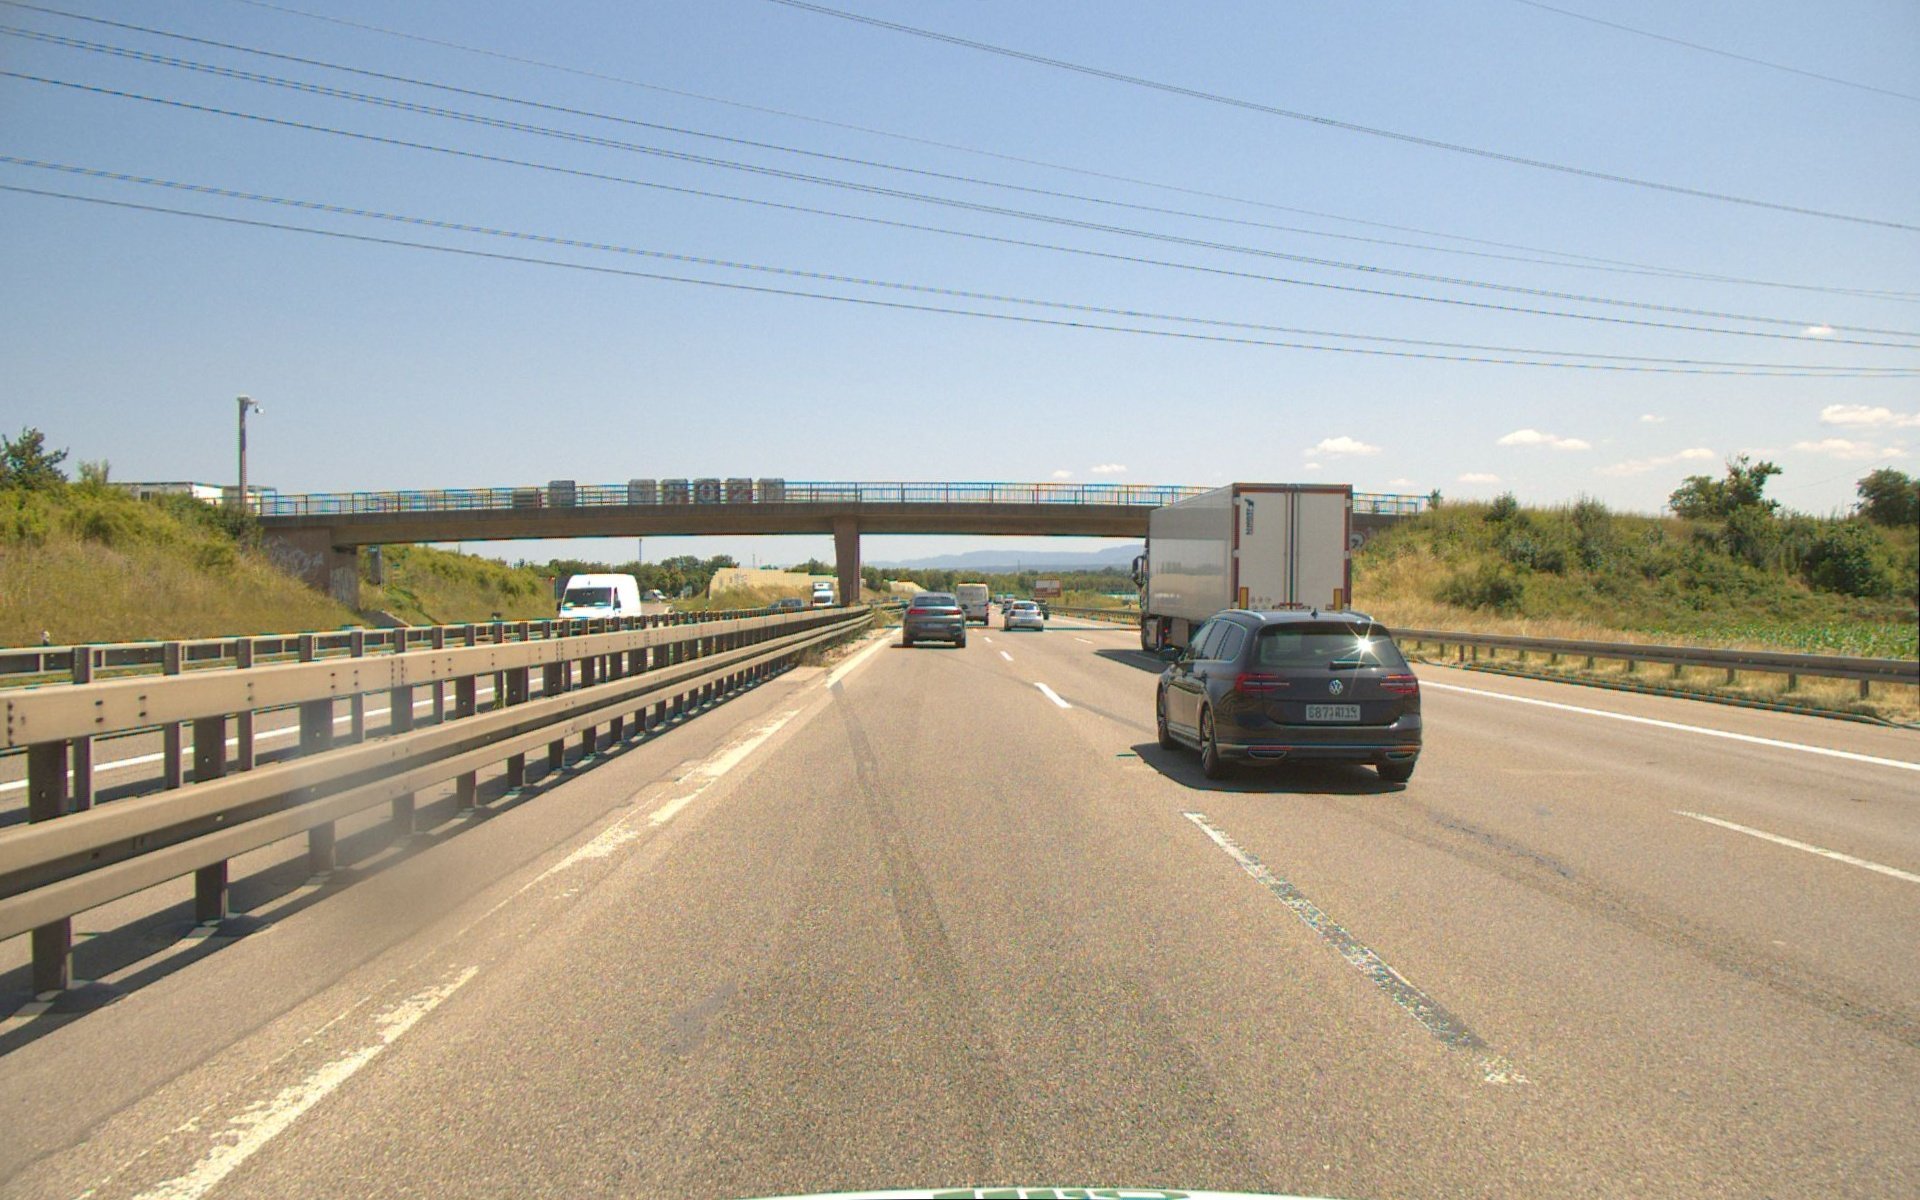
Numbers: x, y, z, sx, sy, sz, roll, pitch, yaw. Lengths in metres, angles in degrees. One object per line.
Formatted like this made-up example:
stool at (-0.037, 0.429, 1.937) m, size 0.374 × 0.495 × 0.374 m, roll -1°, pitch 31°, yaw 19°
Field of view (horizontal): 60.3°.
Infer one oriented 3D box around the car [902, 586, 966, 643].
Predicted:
car at (-0.858, 0.419, 51.729) m, size 1.814 × 1.693 × 3.732 m, roll 1°, pitch 0°, yaw -4°

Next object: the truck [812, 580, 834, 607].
truck at (-19.695, -0.946, 237.936) m, size 2.684 × 3.743 × 5.897 m, roll 1°, pitch 0°, yaw -1°

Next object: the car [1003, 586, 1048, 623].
car at (3.129, 0.225, 79.892) m, size 1.953 × 1.712 × 3.999 m, roll 1°, pitch 0°, yaw -1°

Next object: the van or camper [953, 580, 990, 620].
van or camper at (0.635, -0.021, 96.001) m, size 2.067 × 2.250 × 5.265 m, roll 1°, pitch 0°, yaw -1°

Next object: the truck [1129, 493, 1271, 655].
truck at (6.869, -0.710, 48.384) m, size 2.918 × 4.301 × 7.686 m, roll 1°, pitch 0°, yaw -1°

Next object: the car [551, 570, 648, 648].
car at (-13.198, 0.307, 61.053) m, size 1.991 × 2.651 × 7.599 m, roll 1°, pitch 0°, yaw -1°

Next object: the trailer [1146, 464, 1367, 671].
trailer at (6.945, -0.696, 41.246) m, size 2.883 × 4.271 × 13.594 m, roll 1°, pitch 0°, yaw -1°

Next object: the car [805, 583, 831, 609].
car at (-14.648, -0.405, 170.849) m, size 2.155 × 2.553 × 6.329 m, roll 1°, pitch 0°, yaw -1°

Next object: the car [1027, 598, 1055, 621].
car at (6.299, 0.735, 128.766) m, size 1.953 × 1.712 × 3.999 m, roll 1°, pitch 0°, yaw -1°

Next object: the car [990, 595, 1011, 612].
car at (4.216, 0.343, 172.757) m, size 1.953 × 1.712 × 3.999 m, roll 1°, pitch 0°, yaw -1°

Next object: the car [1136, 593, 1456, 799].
car at (2.919, 0.753, 15.528) m, size 1.894 × 1.602 × 4.933 m, roll 1°, pitch 0°, yaw -1°
